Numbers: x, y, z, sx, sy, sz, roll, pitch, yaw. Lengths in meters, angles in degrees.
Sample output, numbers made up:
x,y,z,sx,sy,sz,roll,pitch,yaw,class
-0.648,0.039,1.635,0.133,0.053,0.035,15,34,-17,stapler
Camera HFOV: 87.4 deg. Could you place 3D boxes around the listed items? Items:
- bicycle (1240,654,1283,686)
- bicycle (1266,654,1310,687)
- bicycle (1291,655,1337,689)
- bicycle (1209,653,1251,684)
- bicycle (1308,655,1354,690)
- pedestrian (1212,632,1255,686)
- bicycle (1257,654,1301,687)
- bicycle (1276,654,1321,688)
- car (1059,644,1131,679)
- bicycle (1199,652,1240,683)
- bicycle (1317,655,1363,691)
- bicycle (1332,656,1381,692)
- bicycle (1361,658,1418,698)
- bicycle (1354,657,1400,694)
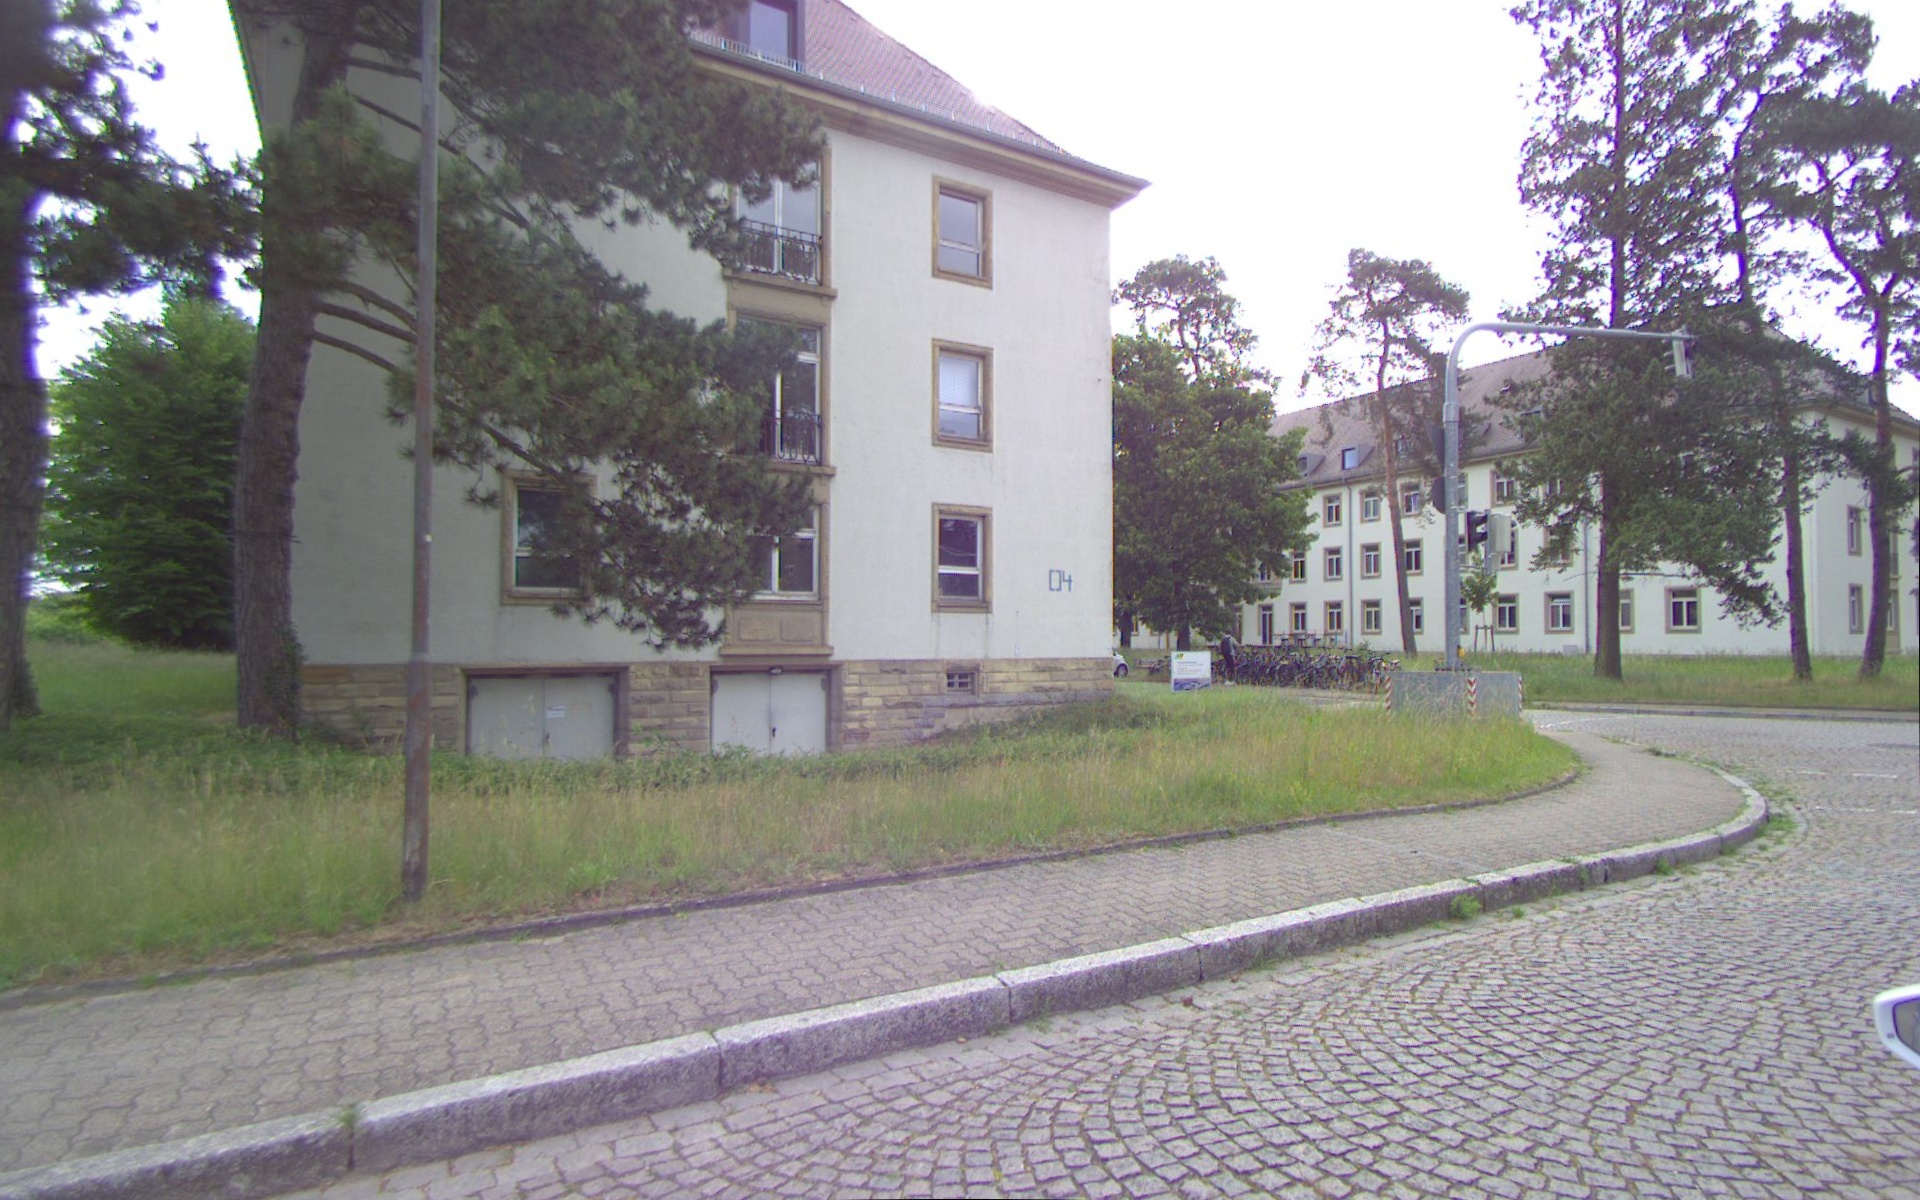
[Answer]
x,y,z,sx,sy,sz,roll,pitch,yaw,class
10.437,2.423,34.785,1.567,1.093,0.512,2,-3,-31,bicycle
11.031,2.366,33.767,1.567,1.093,0.512,2,-3,-31,bicycle
11.588,2.332,32.852,1.567,1.093,0.512,2,-3,-31,bicycle
9.705,2.443,36.126,1.567,1.093,0.512,2,-3,-31,bicycle
11.942,2.318,32.330,1.567,1.093,0.512,2,-3,-31,bicycle
9.499,2.042,34.976,1.135,1.812,1.064,-1,-2,-2,pedestrian
10.832,2.399,34.096,1.567,1.093,0.512,2,-3,-31,bicycle
11.261,2.360,33.380,1.567,1.093,0.512,2,-3,-31,bicycle
5.870,2.667,43.560,2.756,1.446,1.509,2,-2,-31,car
9.447,2.447,36.555,1.567,1.093,0.512,2,-3,-31,bicycle
12.117,2.315,32.015,1.567,1.093,0.512,2,-3,-31,bicycle
12.389,2.306,31.358,1.565,1.093,0.512,1,-3,-28,bicycle
12.336,2.221,28.881,0.510,1.093,1.457,2,-3,-32,bicycle
12.800,2.303,30.817,1.569,1.093,0.511,2,-3,-34,bicycle
